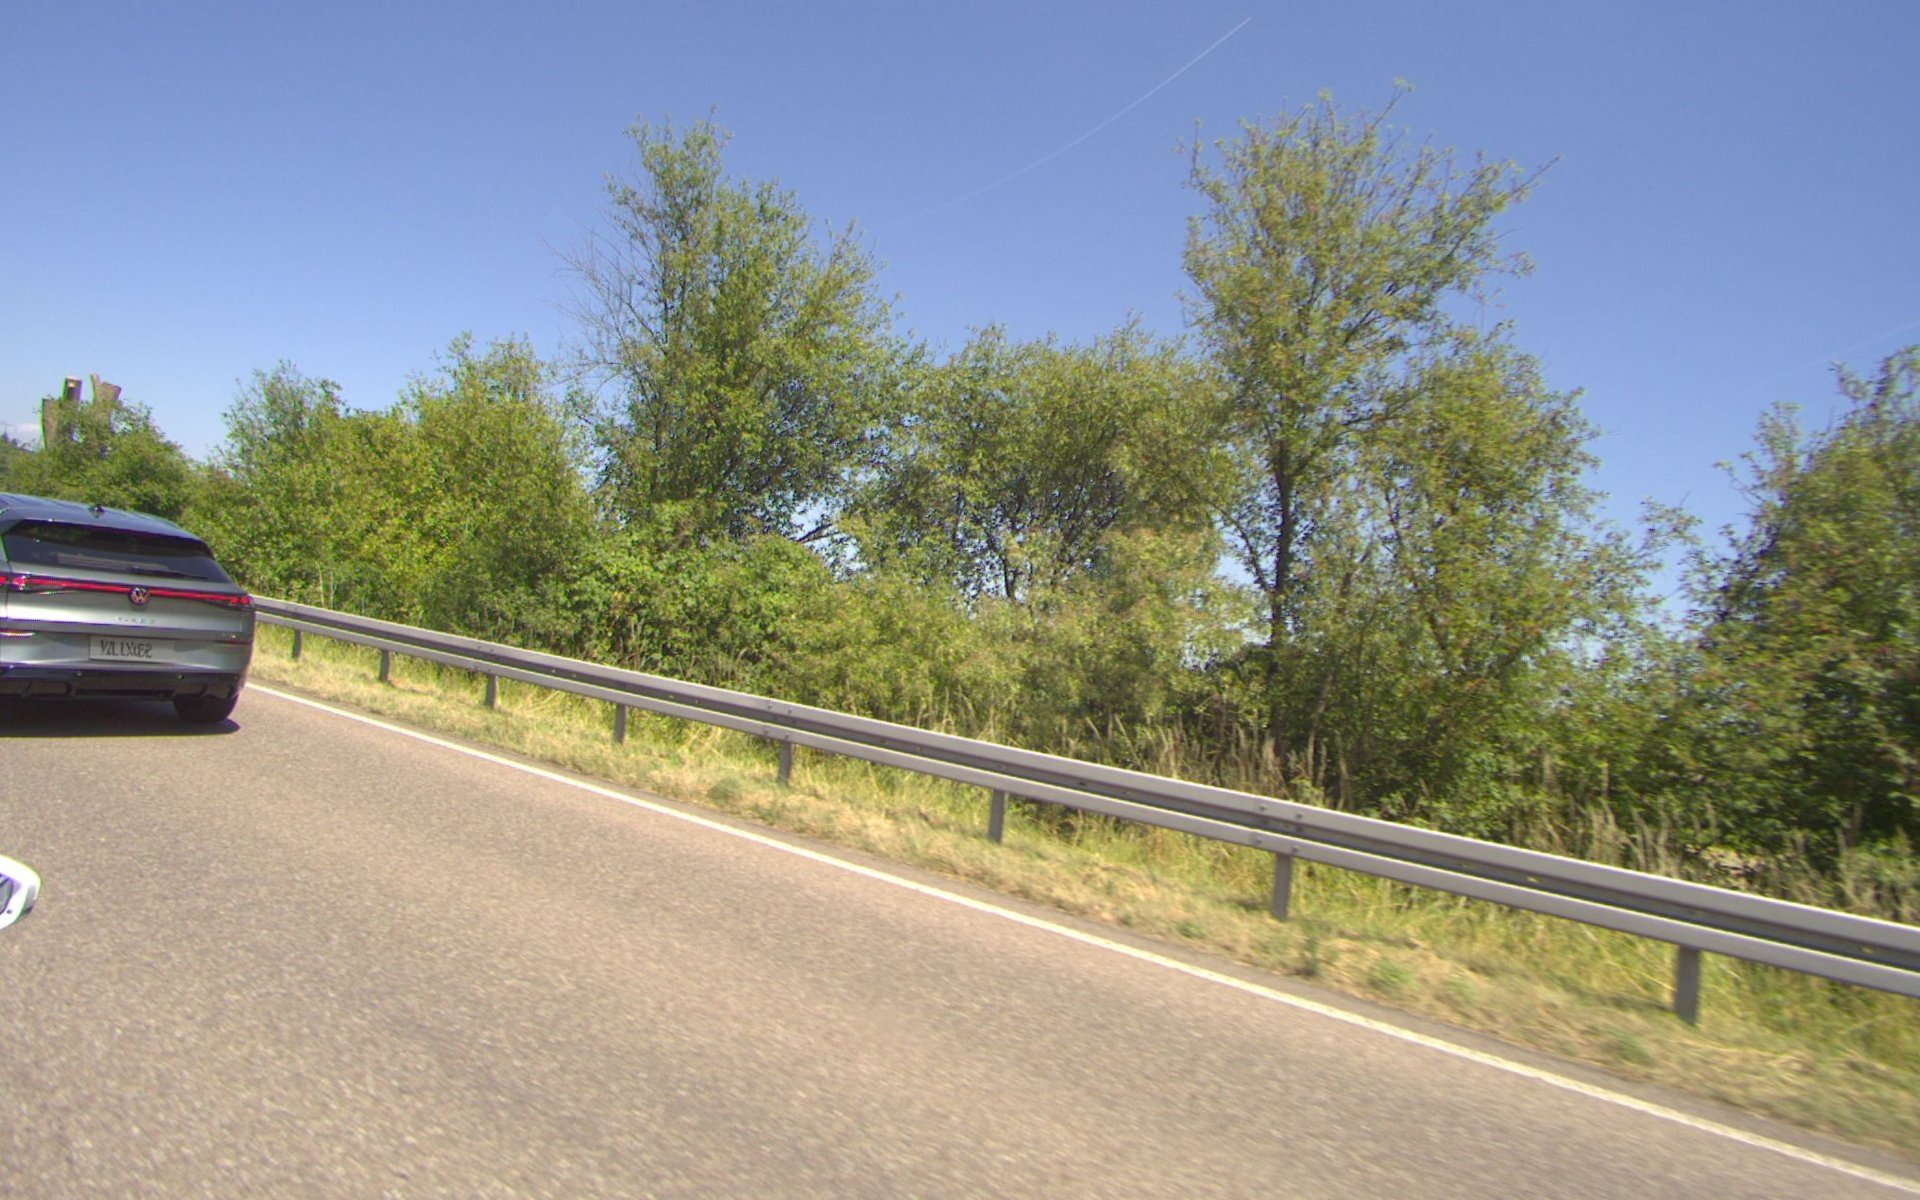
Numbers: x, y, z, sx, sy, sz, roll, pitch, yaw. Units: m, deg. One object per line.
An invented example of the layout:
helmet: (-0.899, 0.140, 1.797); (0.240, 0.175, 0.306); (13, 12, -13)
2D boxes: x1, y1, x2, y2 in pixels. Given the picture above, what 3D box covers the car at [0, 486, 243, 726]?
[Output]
car: (-7.772, -0.130, 8.004); (3.951, 1.571, 1.789); (8, -1, 31)
